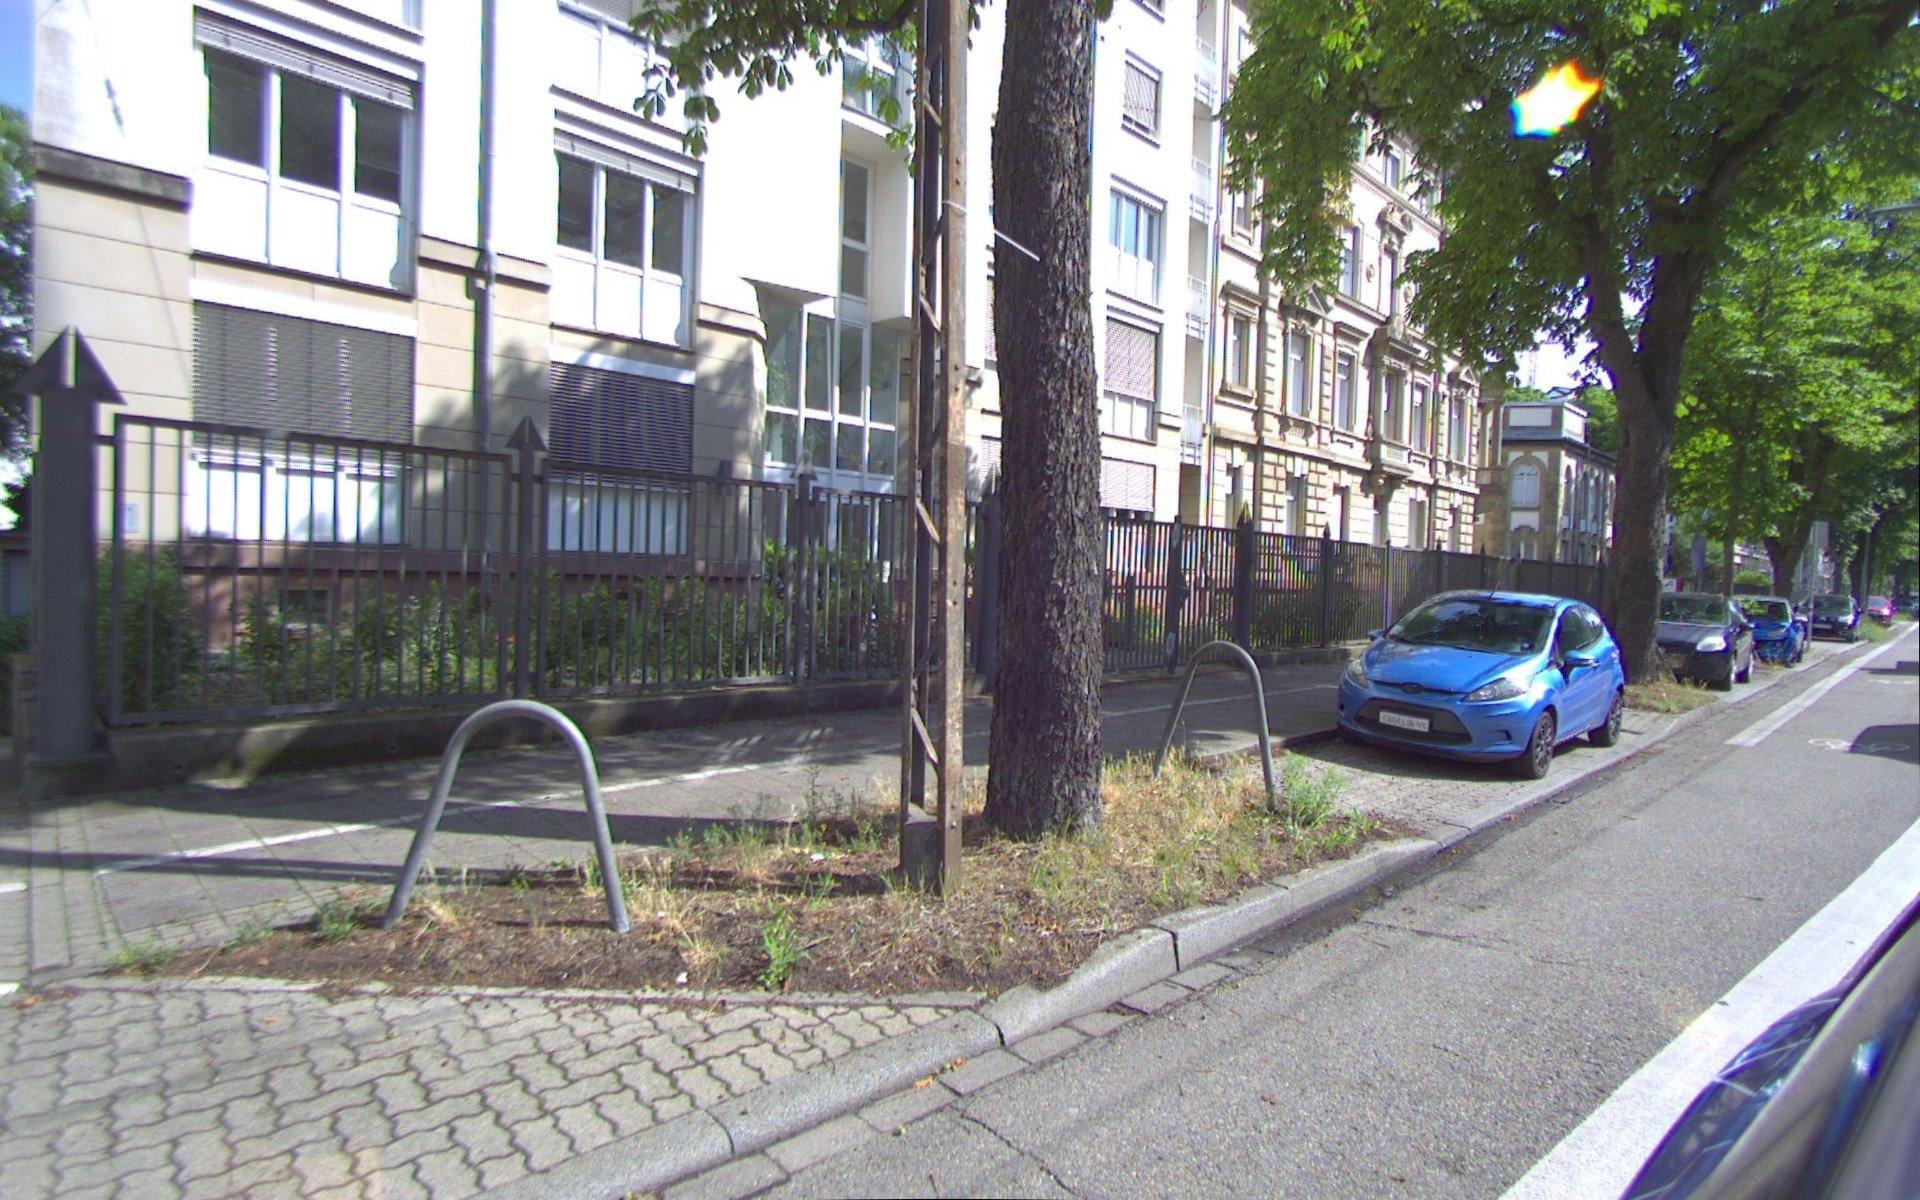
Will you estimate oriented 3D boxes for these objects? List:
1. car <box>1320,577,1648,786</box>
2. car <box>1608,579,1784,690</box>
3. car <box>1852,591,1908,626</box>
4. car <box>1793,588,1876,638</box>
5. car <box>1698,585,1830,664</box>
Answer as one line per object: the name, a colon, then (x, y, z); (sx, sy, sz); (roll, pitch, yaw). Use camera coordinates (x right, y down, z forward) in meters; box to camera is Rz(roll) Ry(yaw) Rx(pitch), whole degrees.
car: (4.993, 0.587, 9.430); (1.639, 1.472, 3.639); (6, 4, 45)
car: (12.179, 0.494, 16.674); (3.562, 1.526, 1.643); (0, 4, -43)
car: (46.819, 0.394, 51.486); (4.130, 1.591, 1.772); (0, 4, -44)
car: (30.832, 0.419, 35.655); (4.130, 1.549, 1.772); (0, 4, -44)
car: (17.807, 0.483, 22.359); (3.861, 1.469, 1.722); (0, 4, -44)
